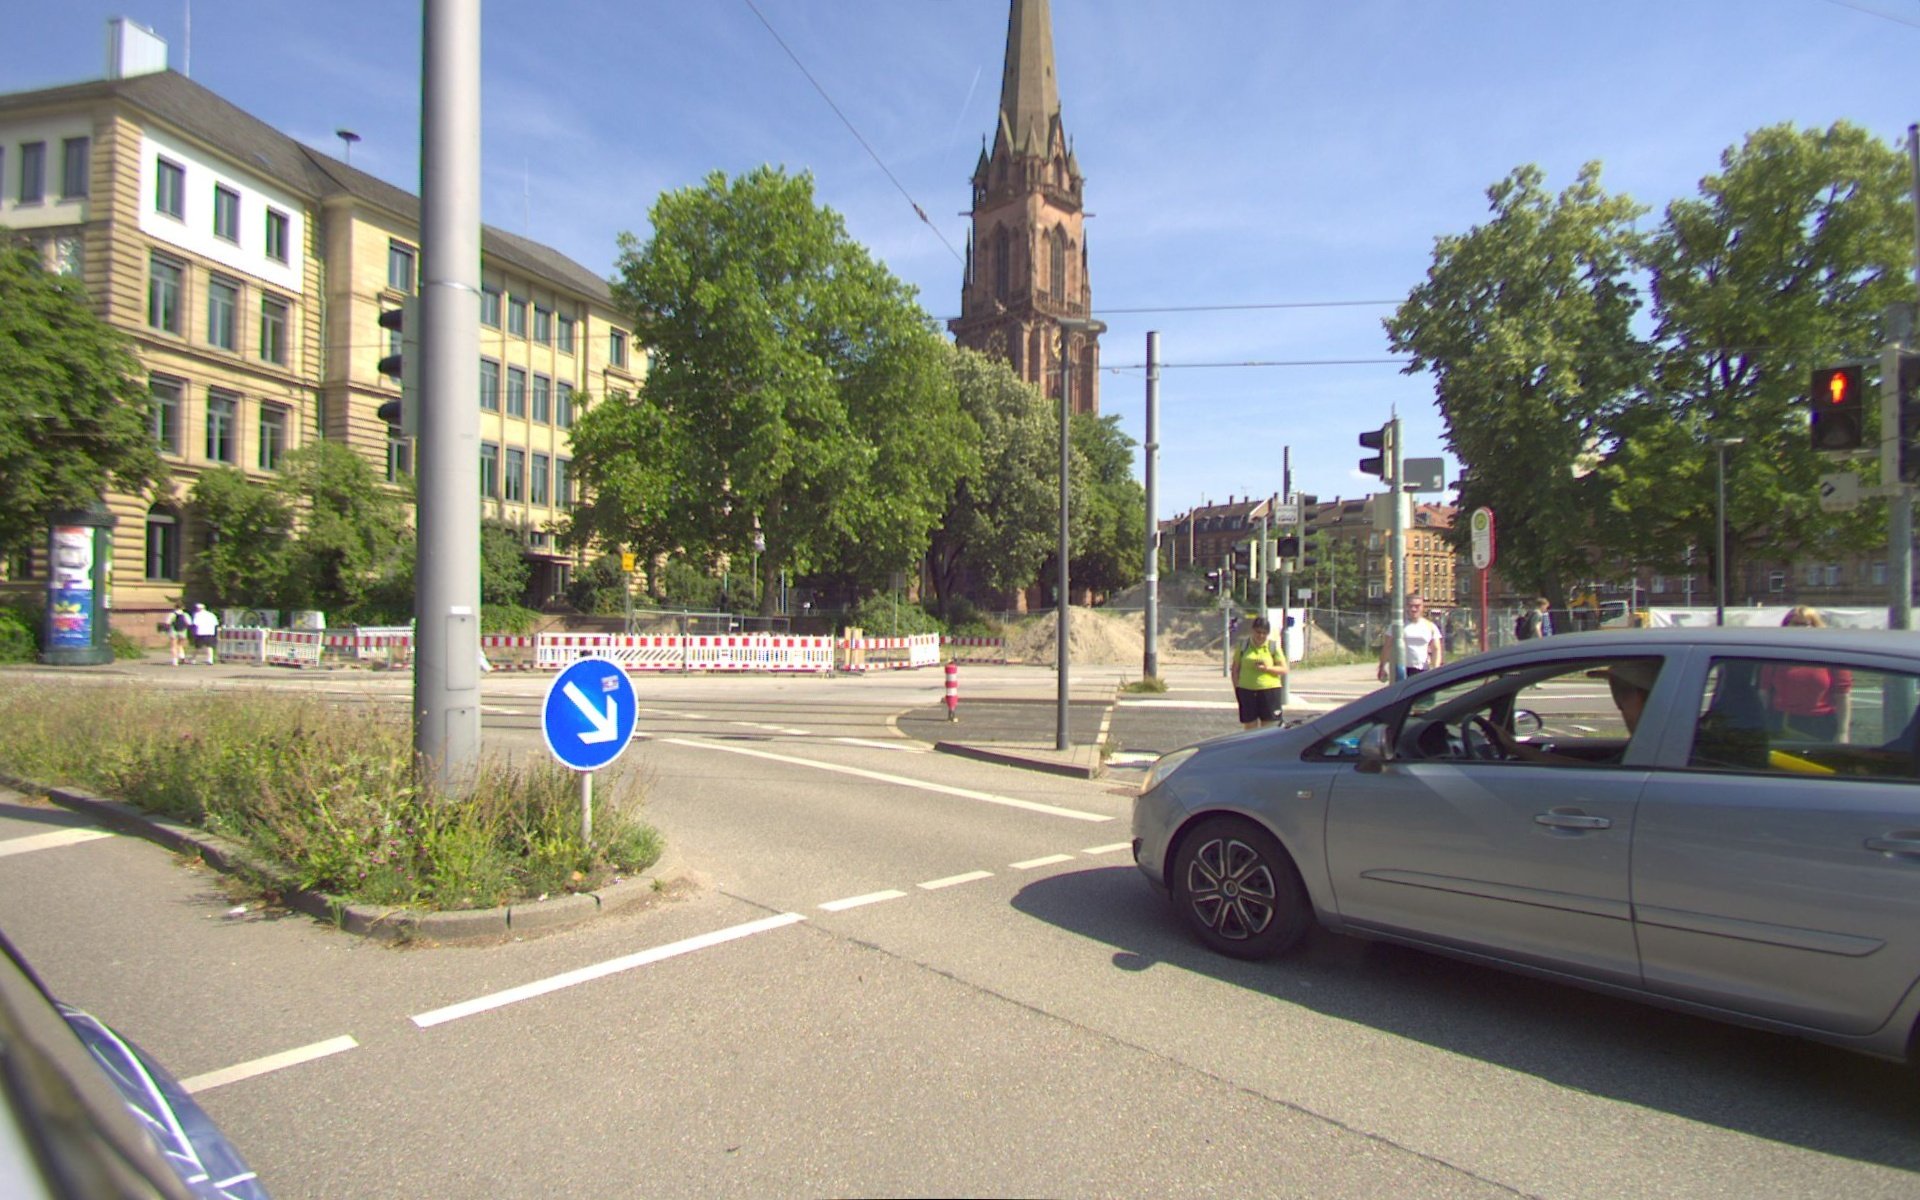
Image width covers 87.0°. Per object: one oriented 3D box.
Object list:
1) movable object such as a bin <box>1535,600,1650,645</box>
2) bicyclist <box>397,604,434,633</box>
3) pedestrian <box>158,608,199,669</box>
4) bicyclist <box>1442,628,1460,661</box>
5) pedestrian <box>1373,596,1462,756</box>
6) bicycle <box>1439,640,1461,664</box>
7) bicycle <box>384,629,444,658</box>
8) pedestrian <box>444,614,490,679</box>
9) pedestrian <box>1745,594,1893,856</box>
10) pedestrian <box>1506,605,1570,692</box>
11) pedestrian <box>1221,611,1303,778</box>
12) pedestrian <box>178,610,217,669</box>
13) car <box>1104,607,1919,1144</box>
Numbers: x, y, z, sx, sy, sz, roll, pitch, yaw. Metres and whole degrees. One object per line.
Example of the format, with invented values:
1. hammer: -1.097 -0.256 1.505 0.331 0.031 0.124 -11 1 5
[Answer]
1. movable object such as a bin: 44.155 1.581 70.744 6.549 3.032 2.548 -1 -2 41
2. bicyclist: -18.229 0.620 33.877 0.859 0.934 0.681 0 -1 6
3. pedestrian: -22.879 1.131 29.641 0.733 1.763 0.586 1 -2 -10
4. bicyclist: 21.125 1.904 43.541 0.616 1.370 1.164 0 -2 24
5. pedestrian: 5.387 0.878 11.968 0.834 1.826 0.646 -1 -2 17
6. bicycle: 20.885 2.206 43.177 0.758 0.930 2.053 0 -2 24
7. bicycle: -18.253 1.439 33.864 1.645 0.954 0.700 0 -2 6
8. pedestrian: -13.027 1.211 26.721 0.925 1.668 0.846 2 -2 -36
9. pedestrian: 5.646 0.785 6.667 0.345 1.628 0.687 2 -2 -43
10. pedestrian: 11.679 0.977 20.468 0.923 1.726 0.558 0 -2 -1
11. pedestrian: 2.926 0.896 9.804 0.664 1.555 0.419 -2 1 26
12. pedestrian: -22.839 1.176 30.330 0.732 1.763 0.586 1 -2 -12
13. car: 2.692 0.782 3.842 1.773 1.422 4.003 4 -4 -44
